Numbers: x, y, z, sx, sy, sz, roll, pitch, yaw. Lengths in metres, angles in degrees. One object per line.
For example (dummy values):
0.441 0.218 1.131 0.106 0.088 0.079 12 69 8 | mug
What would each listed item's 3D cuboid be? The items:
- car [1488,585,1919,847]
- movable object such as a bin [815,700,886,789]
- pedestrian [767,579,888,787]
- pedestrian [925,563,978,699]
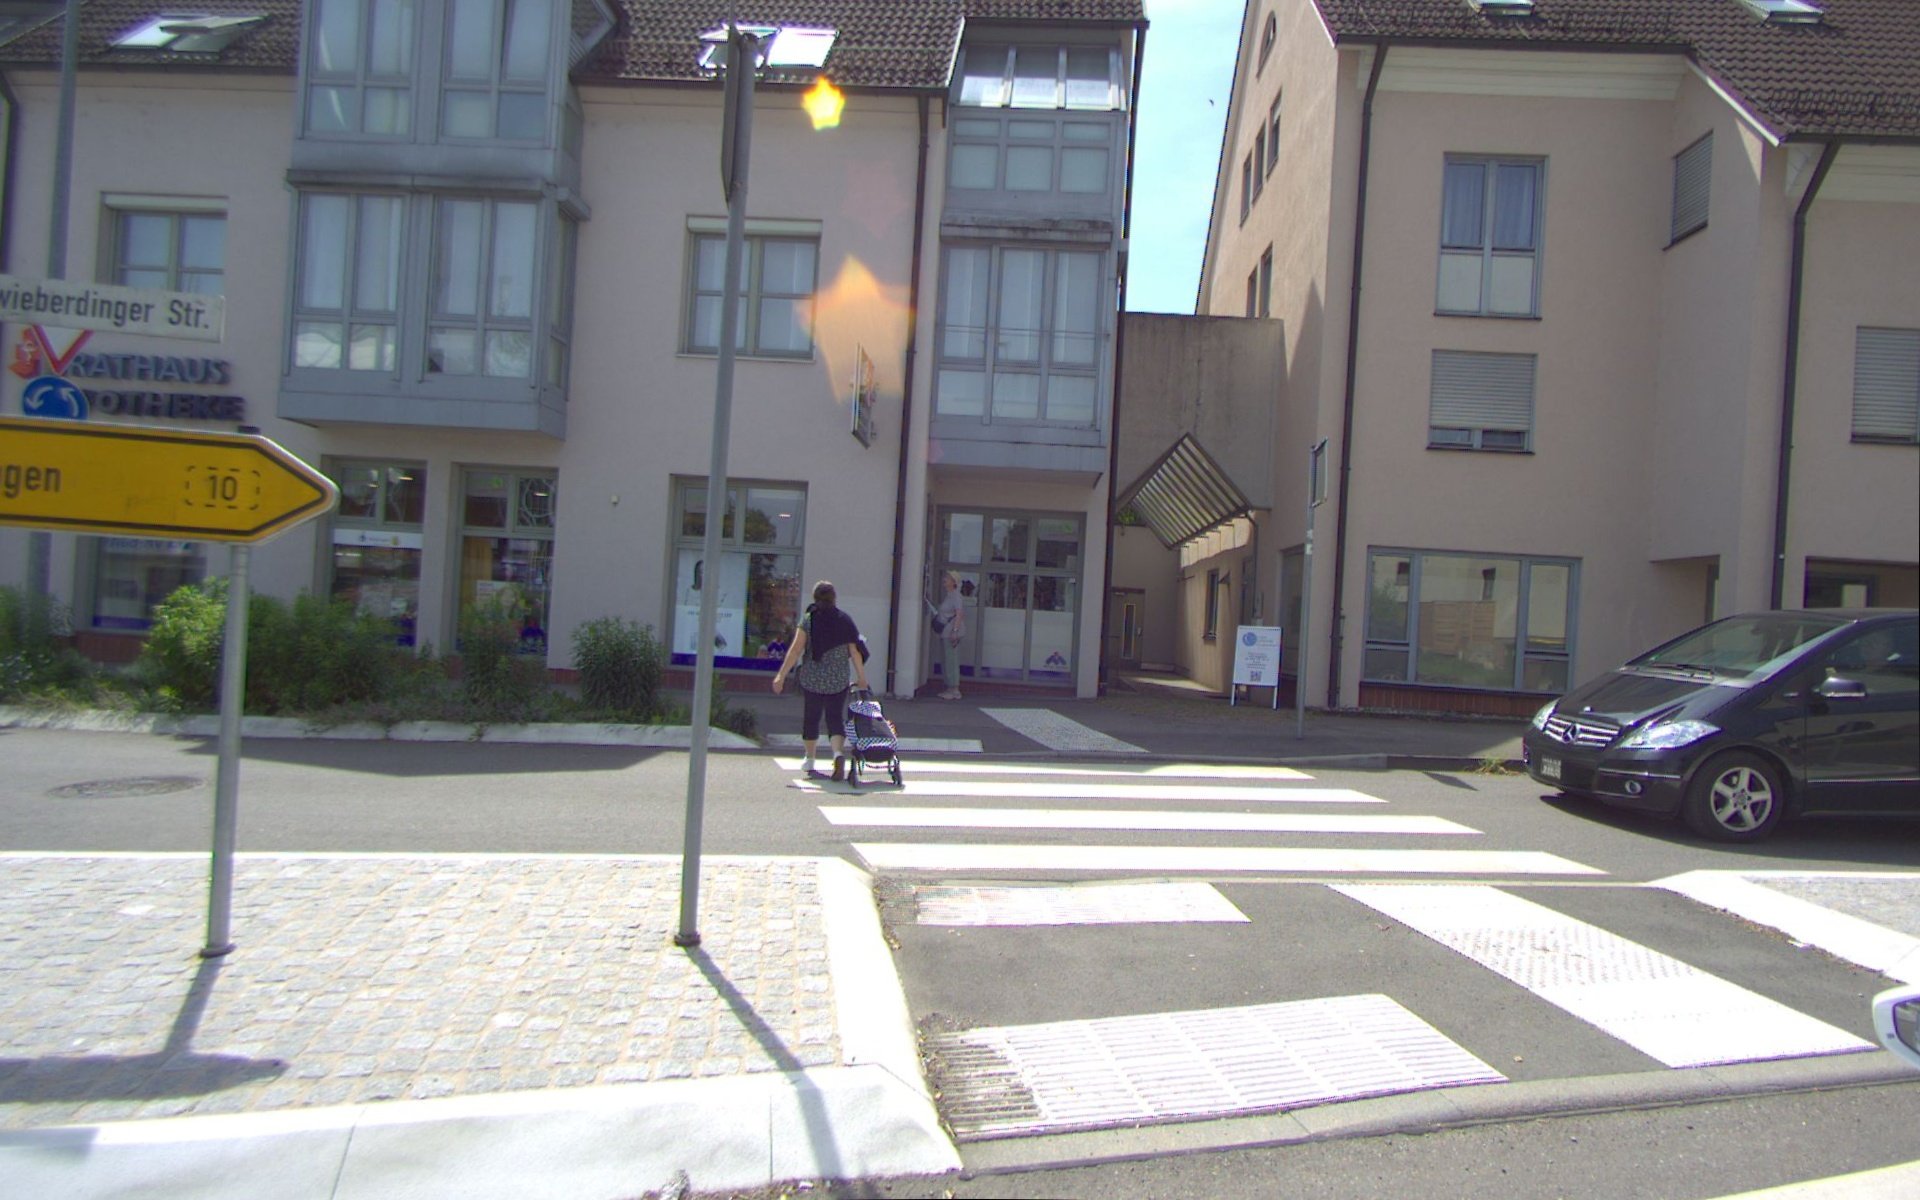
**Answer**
6.261 0.788 7.316 3.867 1.605 1.757 2 0 -1 | car
-0.818 1.063 7.433 0.451 0.589 0.467 2 0 -13 | movable object such as a bin
-1.050 0.612 7.791 0.789 1.497 0.954 2 0 -13 | pedestrian
-0.110 0.401 13.246 0.568 1.732 0.577 2 1 7 | pedestrian
